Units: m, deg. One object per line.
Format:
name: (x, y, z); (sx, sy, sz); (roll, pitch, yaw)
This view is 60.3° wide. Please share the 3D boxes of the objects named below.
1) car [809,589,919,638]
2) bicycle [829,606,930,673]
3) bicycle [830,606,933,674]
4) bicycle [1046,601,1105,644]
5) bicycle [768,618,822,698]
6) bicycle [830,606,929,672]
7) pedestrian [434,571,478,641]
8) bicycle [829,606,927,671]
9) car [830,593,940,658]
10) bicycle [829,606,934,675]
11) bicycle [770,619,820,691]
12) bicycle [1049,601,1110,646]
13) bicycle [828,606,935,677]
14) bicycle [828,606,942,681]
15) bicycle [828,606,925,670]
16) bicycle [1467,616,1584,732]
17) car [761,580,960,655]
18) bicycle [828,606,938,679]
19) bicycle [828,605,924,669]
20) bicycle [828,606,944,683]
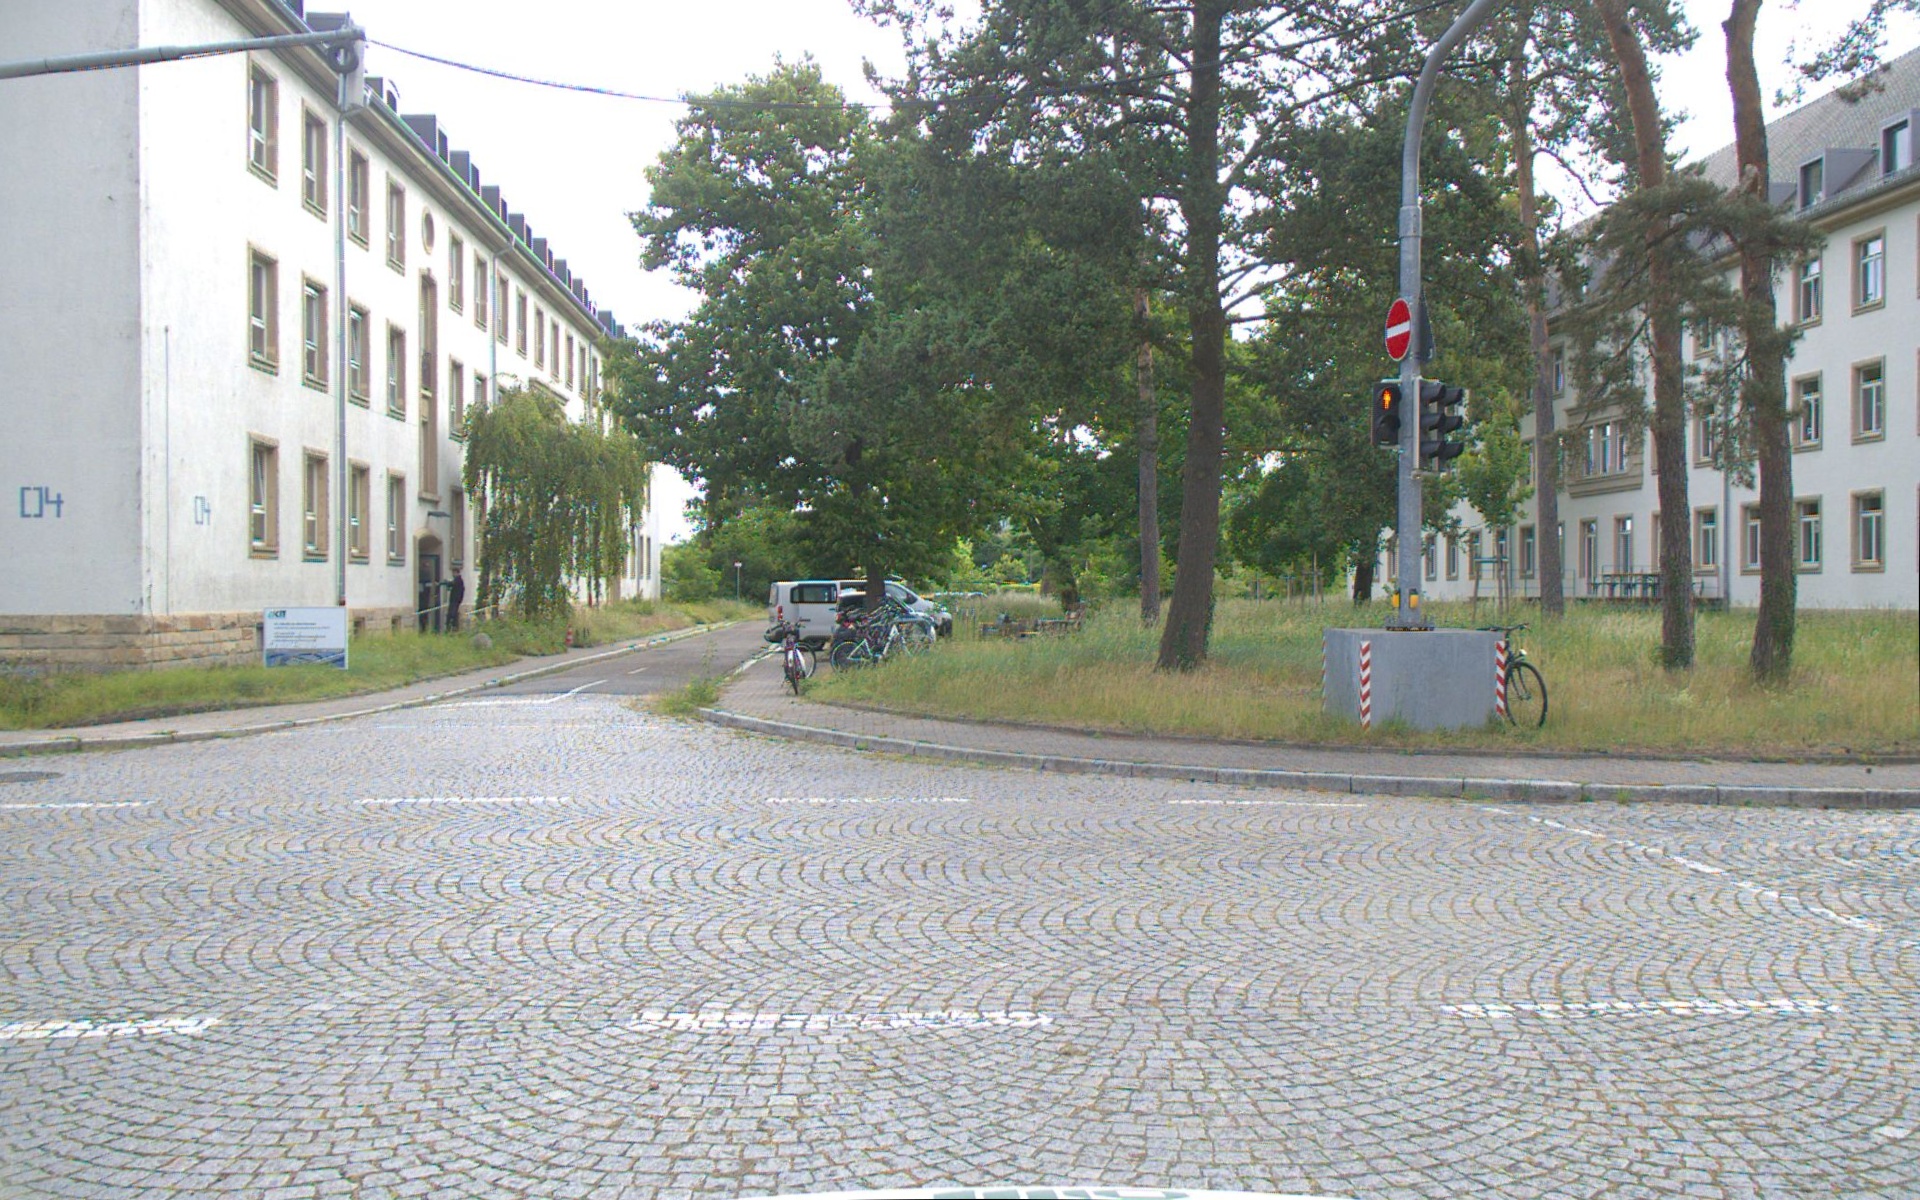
car: (-3.496, 0.487, 60.167); (3.952, 1.748, 1.679); (0, 0, -5)
bicycle: (-1.577, 0.764, 32.241); (1.944, 1.269, 0.623); (1, -1, -5)
bicycle: (-1.516, 0.763, 31.837); (1.944, 1.269, 0.623); (1, -1, -5)
bicycle: (3.022, 0.588, 43.362); (1.518, 1.144, 0.401); (0, 0, -2)
bicycle: (-2.458, 0.847, 24.819); (0.609, 1.133, 1.988); (1, 0, 0)
bicycle: (-1.607, 0.766, 32.911); (1.944, 1.269, 0.623); (1, -1, -5)
pedestrian: (-13.234, 0.145, 43.452); (0.820, 1.812, 0.941); (0, 0, 2)
bicycle: (-1.665, 0.768, 33.421); (1.944, 1.269, 0.623); (1, -1, -5)
car: (-1.963, 0.642, 42.876); (2.791, 1.585, 1.471); (-1, 1, -4)
bicycle: (-1.495, 0.761, 31.313); (1.944, 1.269, 0.623); (1, -1, -5)
bicycle: (-2.658, 0.868, 26.763); (0.609, 1.101, 1.678); (1, 0, 1)
bicycle: (3.031, 0.585, 42.130); (1.518, 1.144, 0.401); (0, 0, -2)
bicycle: (-1.457, 0.759, 30.681); (1.944, 1.269, 0.623); (1, -1, -5)
bicycle: (-1.318, 0.753, 28.902); (1.944, 1.269, 0.623); (1, -1, -5)
bicycle: (-1.715, 0.769, 33.913); (1.944, 1.269, 0.623); (1, -1, -5)
bicycle: (5.535, 0.698, 16.269); (0.568, 0.987, 1.678); (-2, 2, 1)
car: (-2.792, 0.462, 46.305); (5.222, 1.949, 2.139); (-1, 0, -18)
bicycle: (-1.396, 0.756, 29.824); (1.944, 1.269, 0.623); (1, -1, -5)
bicycle: (-1.762, 0.772, 34.570); (1.944, 1.269, 0.623); (-2, 0, -5)
bicycle: (-1.275, 0.750, 28.275); (1.944, 1.269, 0.623); (1, -1, -5)
